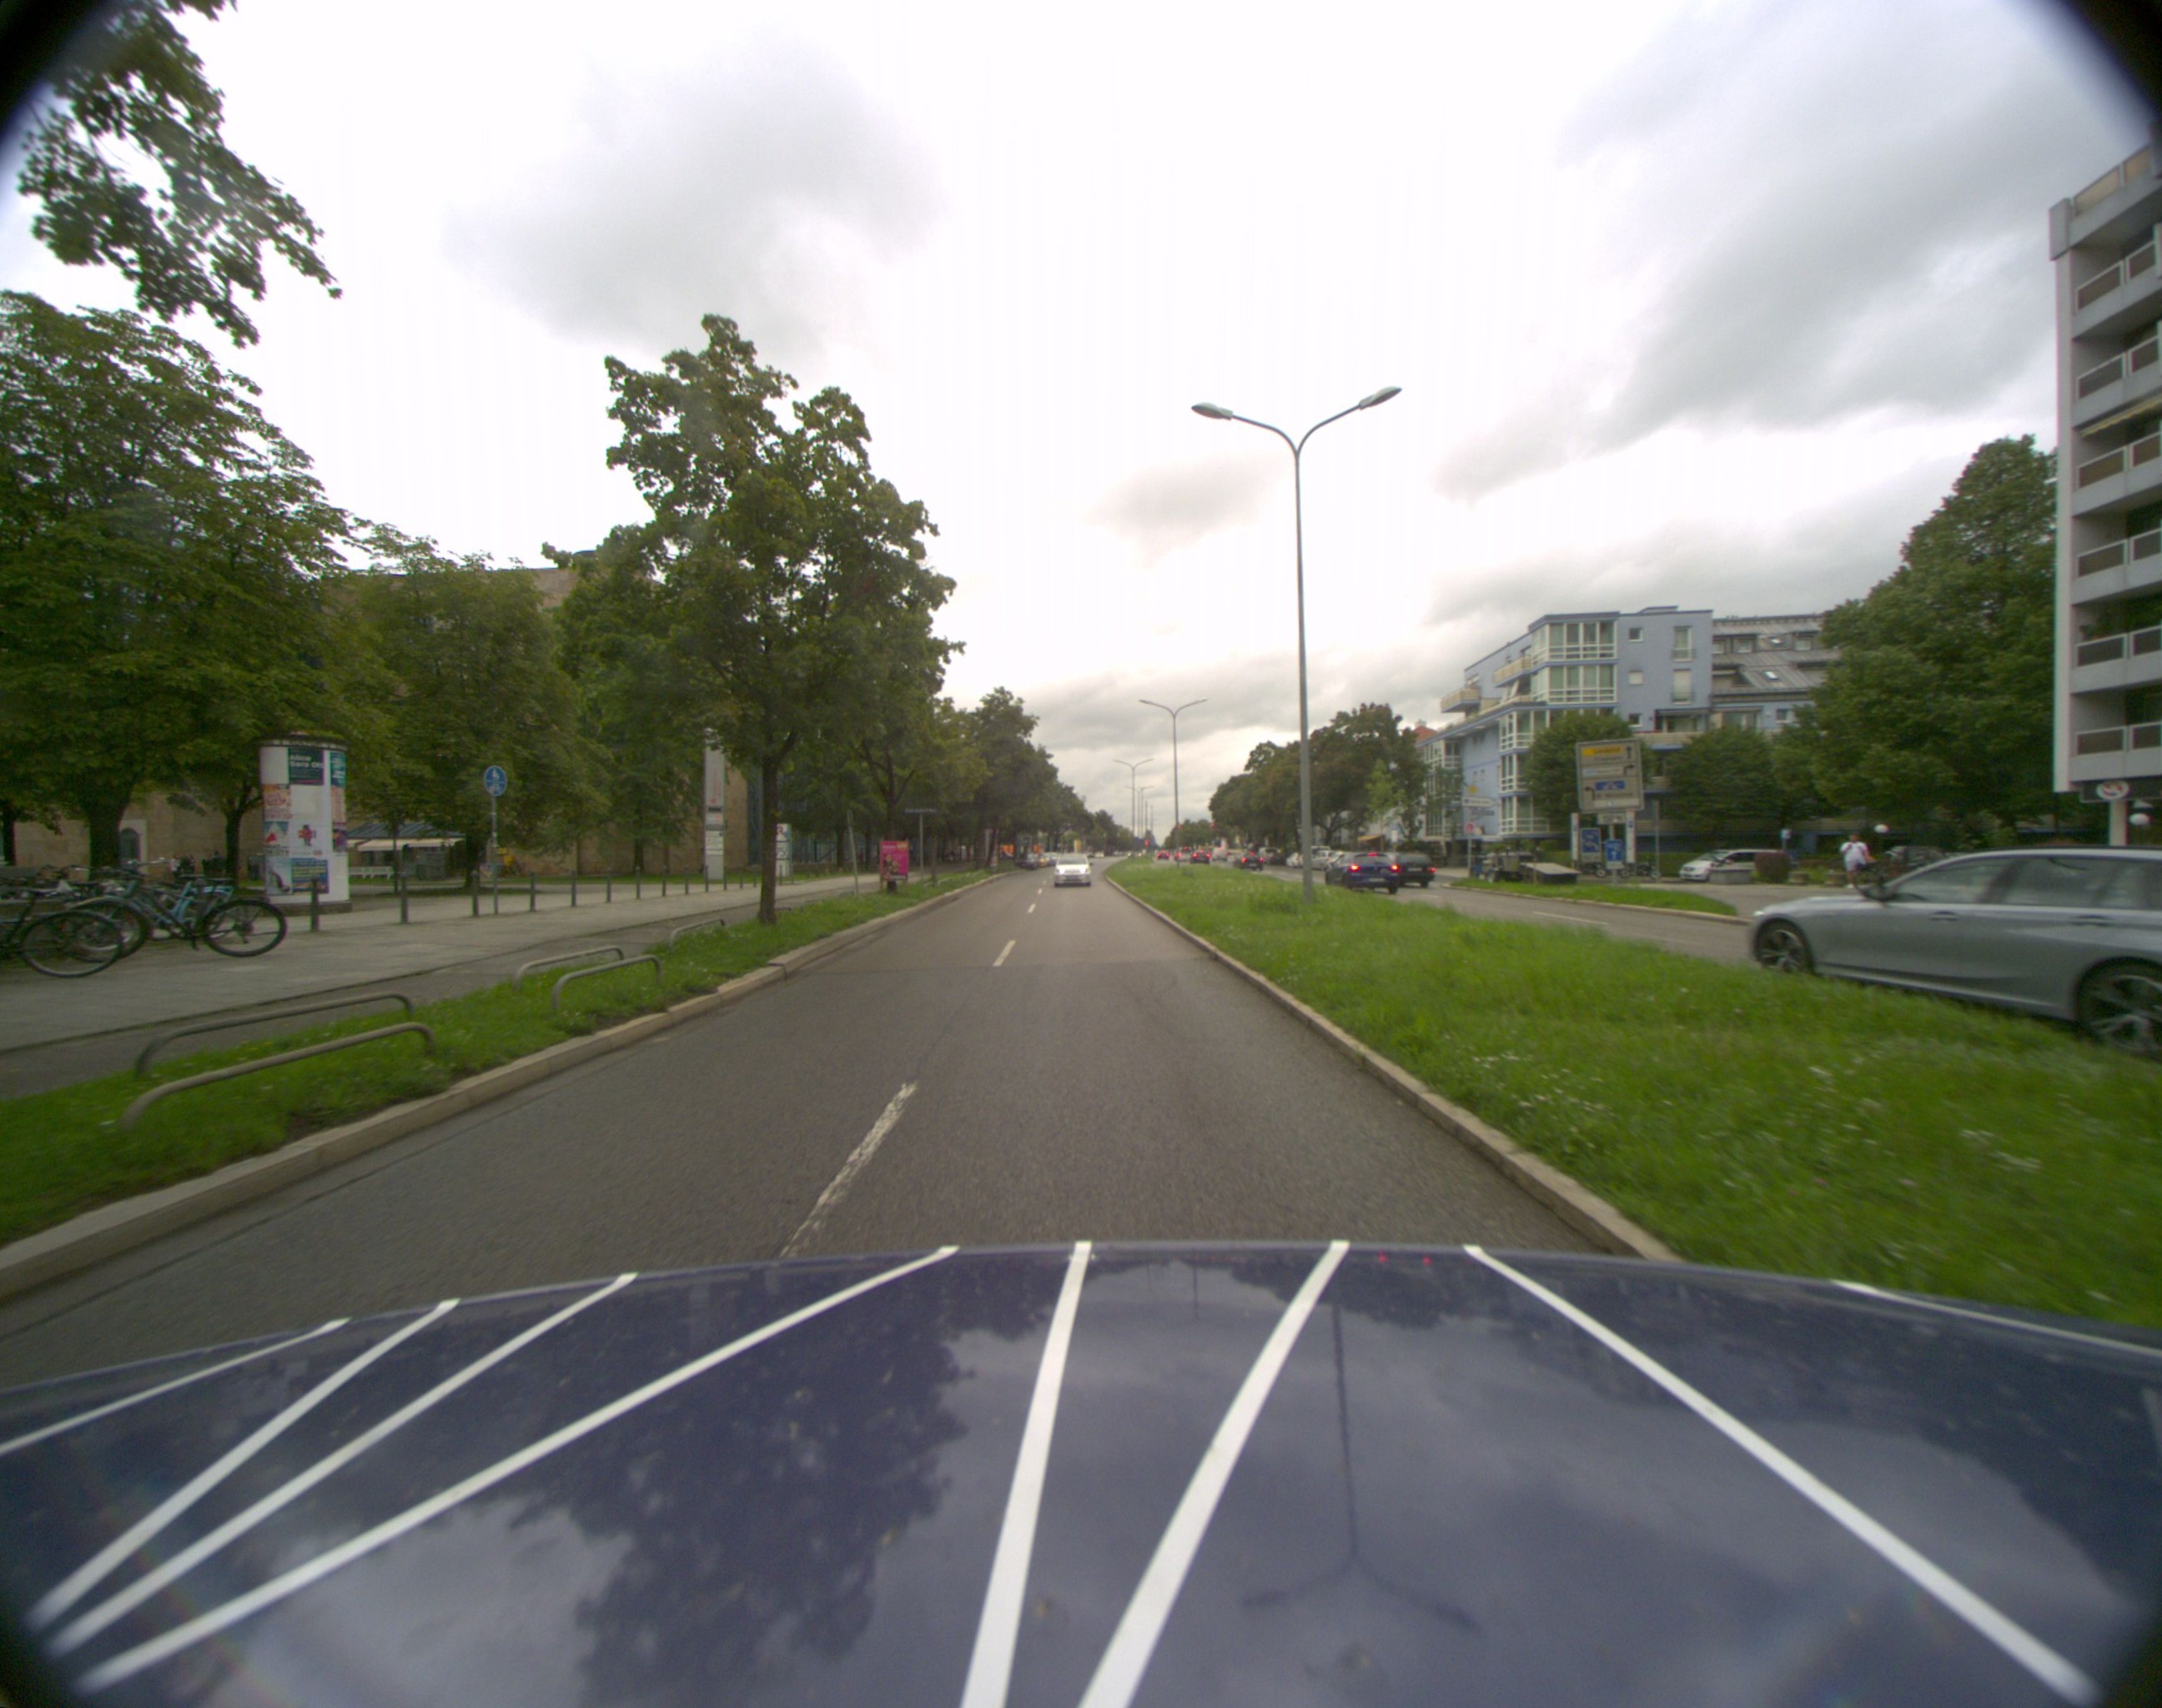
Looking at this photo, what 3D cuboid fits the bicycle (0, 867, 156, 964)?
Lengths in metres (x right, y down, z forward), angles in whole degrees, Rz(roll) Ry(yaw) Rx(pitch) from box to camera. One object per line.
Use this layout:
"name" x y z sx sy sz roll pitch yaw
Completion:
"bicycle" -13.929 0.796 10.223 0.489 1.182 1.954 0 1 2

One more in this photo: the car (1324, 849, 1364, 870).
"car" 18.620 0.368 53.946 1.651 1.481 3.903 0 1 3

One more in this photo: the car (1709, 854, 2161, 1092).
"car" 7.948 0.762 6.148 1.919 1.476 4.866 0 1 4

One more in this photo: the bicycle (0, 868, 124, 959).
"bicycle" -14.773 0.818 10.544 0.446 1.182 1.954 0 1 2

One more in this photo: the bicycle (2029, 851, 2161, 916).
"bicycle" 19.089 0.519 14.207 0.409 1.097 1.955 -5 0 8

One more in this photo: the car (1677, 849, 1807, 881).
"car" 35.656 0.565 41.100 5.113 1.673 2.000 0 1 4

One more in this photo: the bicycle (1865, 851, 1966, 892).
"bicycle" 23.066 0.473 21.017 1.951 1.097 0.560 0 1 9

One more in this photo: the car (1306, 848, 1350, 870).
"car" 19.019 0.352 58.789 1.703 1.606 4.662 0 1 -3

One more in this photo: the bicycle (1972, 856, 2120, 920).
"bicycle" 17.914 0.592 14.181 0.409 1.066 1.955 -5 0 8

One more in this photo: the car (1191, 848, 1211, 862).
"car" 12.890 0.085 81.800 1.961 1.471 4.260 0 1 6

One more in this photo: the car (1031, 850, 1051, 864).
"car" -4.226 0.272 80.569 1.626 1.374 4.195 0 1 3

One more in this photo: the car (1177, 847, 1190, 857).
"car" 15.272 -0.344 113.731 1.795 1.440 3.673 0 1 6

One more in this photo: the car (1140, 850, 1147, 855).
"car" 15.697 -0.325 190.045 1.589 1.259 3.736 0 1 6

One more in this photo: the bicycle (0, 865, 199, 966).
"bicycle" -13.320 0.767 10.254 0.489 1.182 1.954 0 1 2

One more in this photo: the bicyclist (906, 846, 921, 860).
"bicyclist" -13.518 -0.055 61.324 0.725 1.123 0.961 1 1 44

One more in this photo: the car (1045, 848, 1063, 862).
"car" -3.181 0.099 90.705 1.682 1.522 4.097 0 1 6

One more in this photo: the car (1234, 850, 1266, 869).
"car" 12.956 0.412 58.480 1.786 1.397 4.102 0 1 3

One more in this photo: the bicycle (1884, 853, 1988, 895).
"bicycle" 22.968 0.523 20.438 1.951 1.097 0.560 0 1 9

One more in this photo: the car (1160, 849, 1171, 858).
"car" 13.729 -0.072 124.180 1.761 1.440 3.673 0 1 6

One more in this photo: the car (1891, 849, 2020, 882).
"car" 45.808 0.582 39.871 4.257 1.673 2.000 0 1 4

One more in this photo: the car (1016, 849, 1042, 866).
"car" -4.806 0.290 70.870 1.865 1.581 4.603 0 1 2

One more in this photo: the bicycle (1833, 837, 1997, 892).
"bicycle" 23.711 0.296 21.667 3.333 1.276 0.788 -5 0 9

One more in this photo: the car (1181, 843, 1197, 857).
"car" 14.821 -0.578 104.559 1.944 1.986 4.705 0 1 6

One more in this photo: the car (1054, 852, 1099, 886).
"car" -0.163 0.650 34.674 1.679 1.434 3.736 0 1 6

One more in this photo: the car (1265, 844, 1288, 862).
"car" 21.491 -0.131 83.825 1.800 1.986 4.548 0 1 6

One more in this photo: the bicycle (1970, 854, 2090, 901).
"bicycle" 22.551 0.545 18.084 1.951 1.097 0.489 0 1 9

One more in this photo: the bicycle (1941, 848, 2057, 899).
"bicycle" 22.647 0.472 18.763 1.951 1.097 0.489 -5 0 9

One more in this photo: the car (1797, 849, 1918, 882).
"car" 41.491 0.601 40.680 4.257 1.673 2.000 0 1 4

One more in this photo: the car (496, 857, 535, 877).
"car" -33.054 0.747 44.428 0.678 1.008 2.077 0 2 0

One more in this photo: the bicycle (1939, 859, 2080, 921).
"bicycle" 17.370 0.640 14.286 0.409 1.034 1.955 -5 0 8

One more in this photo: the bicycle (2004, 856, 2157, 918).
"bicycle" 18.500 0.576 14.138 0.409 1.024 1.955 -5 0 8

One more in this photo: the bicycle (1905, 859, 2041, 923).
"bicycle" 16.697 0.664 14.303 0.409 1.071 1.955 -5 0 8

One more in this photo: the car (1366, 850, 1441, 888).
"car" 13.479 0.601 31.991 1.695 1.476 3.968 0 0 4

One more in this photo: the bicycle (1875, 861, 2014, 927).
"bicycle" 16.167 0.711 14.308 0.409 1.083 2.085 -5 0 8

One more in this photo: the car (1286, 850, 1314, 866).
"car" 20.239 0.347 70.357 1.679 1.386 4.335 0 1 4

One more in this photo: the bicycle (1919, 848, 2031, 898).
"bicycle" 22.774 0.482 19.378 1.951 1.097 0.489 -5 0 9

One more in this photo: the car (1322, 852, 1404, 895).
"car" 9.876 0.637 26.935 1.695 1.394 3.968 0 1 4

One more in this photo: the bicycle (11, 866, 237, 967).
"bicycle" -12.737 0.774 10.225 0.489 1.182 1.954 0 1 2

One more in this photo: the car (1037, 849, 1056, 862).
"car" -3.825 0.164 85.363 1.626 1.466 3.896 0 1 6
